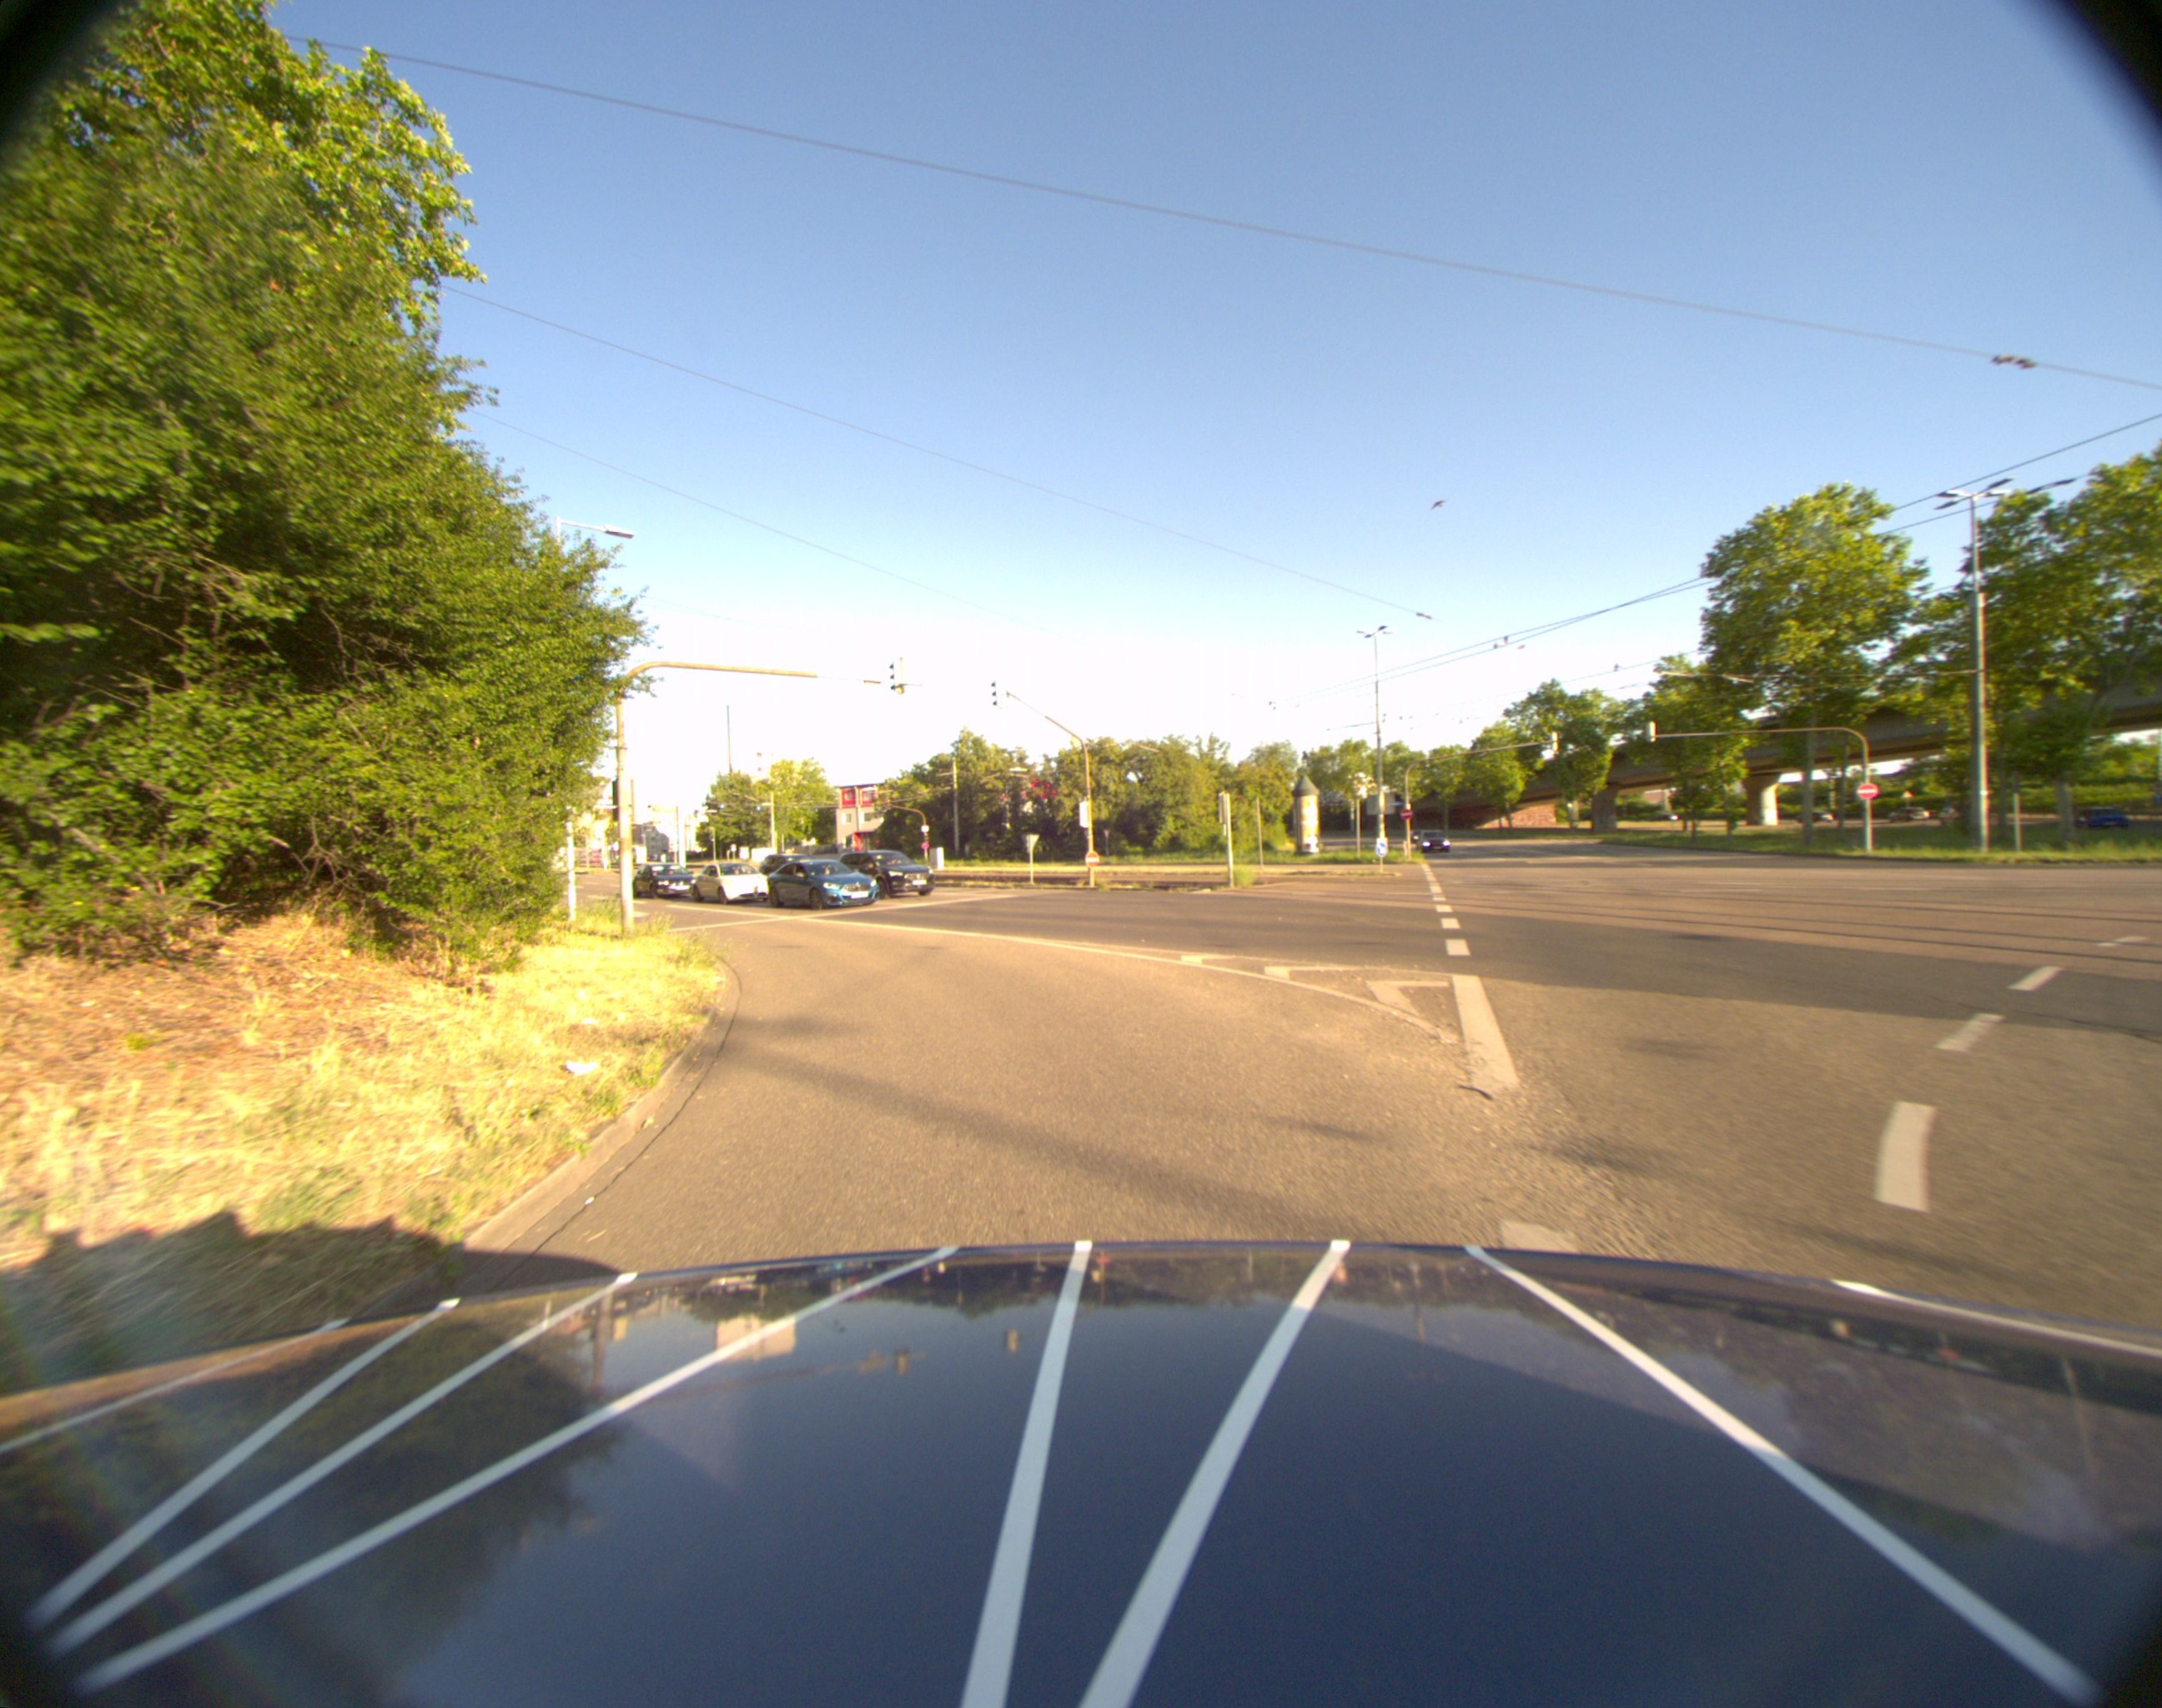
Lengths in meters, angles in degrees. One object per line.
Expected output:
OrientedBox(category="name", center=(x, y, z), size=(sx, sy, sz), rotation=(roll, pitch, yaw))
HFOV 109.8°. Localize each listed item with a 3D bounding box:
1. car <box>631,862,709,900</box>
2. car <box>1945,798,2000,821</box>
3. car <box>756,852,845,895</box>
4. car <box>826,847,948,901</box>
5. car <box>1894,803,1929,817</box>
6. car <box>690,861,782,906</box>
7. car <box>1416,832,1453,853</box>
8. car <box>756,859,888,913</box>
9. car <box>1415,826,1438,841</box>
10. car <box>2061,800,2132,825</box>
OrientedBox(category="car", center=(-17.485, 1.104, 32.245), size=(3.913, 1.422, 1.786), rotation=(-1, 2, 45))
OrientedBox(category="car", center=(80.753, -4.039, 68.897), size=(1.994, 1.895, 4.713), rotation=(-1, 2, 34))
OrientedBox(category="car", center=(-12.005, 0.791, 32.342), size=(1.925, 1.639, 4.589), rotation=(-4, 2, -42))
OrientedBox(category="car", center=(-6.836, 0.663, 26.493), size=(4.588, 1.672, 1.925), rotation=(-1, 2, 45))
OrientedBox(category="car", center=(90.646, -4.769, 82.946), size=(1.692, 1.414, 3.740), rotation=(-1, 2, 33))
OrientedBox(category="car", center=(-12.497, 1.036, 27.405), size=(3.913, 1.422, 1.669), rotation=(-1, 2, 45))
OrientedBox(category="car", center=(27.150, -0.915, 58.466), size=(1.996, 1.477, 4.005), rotation=(-2, 0, 18))
OrientedBox(category="car", center=(-7.917, 0.910, 22.993), size=(4.500, 1.409, 1.793), rotation=(-1, 2, 43))
OrientedBox(category="car", center=(37.422, -2.235, 82.366), size=(1.996, 1.477, 4.005), rotation=(-2, 0, 20))
OrientedBox(category="car", center=(68.540, -2.783, 51.365), size=(1.994, 1.550, 3.942), rotation=(-1, 2, 40))
